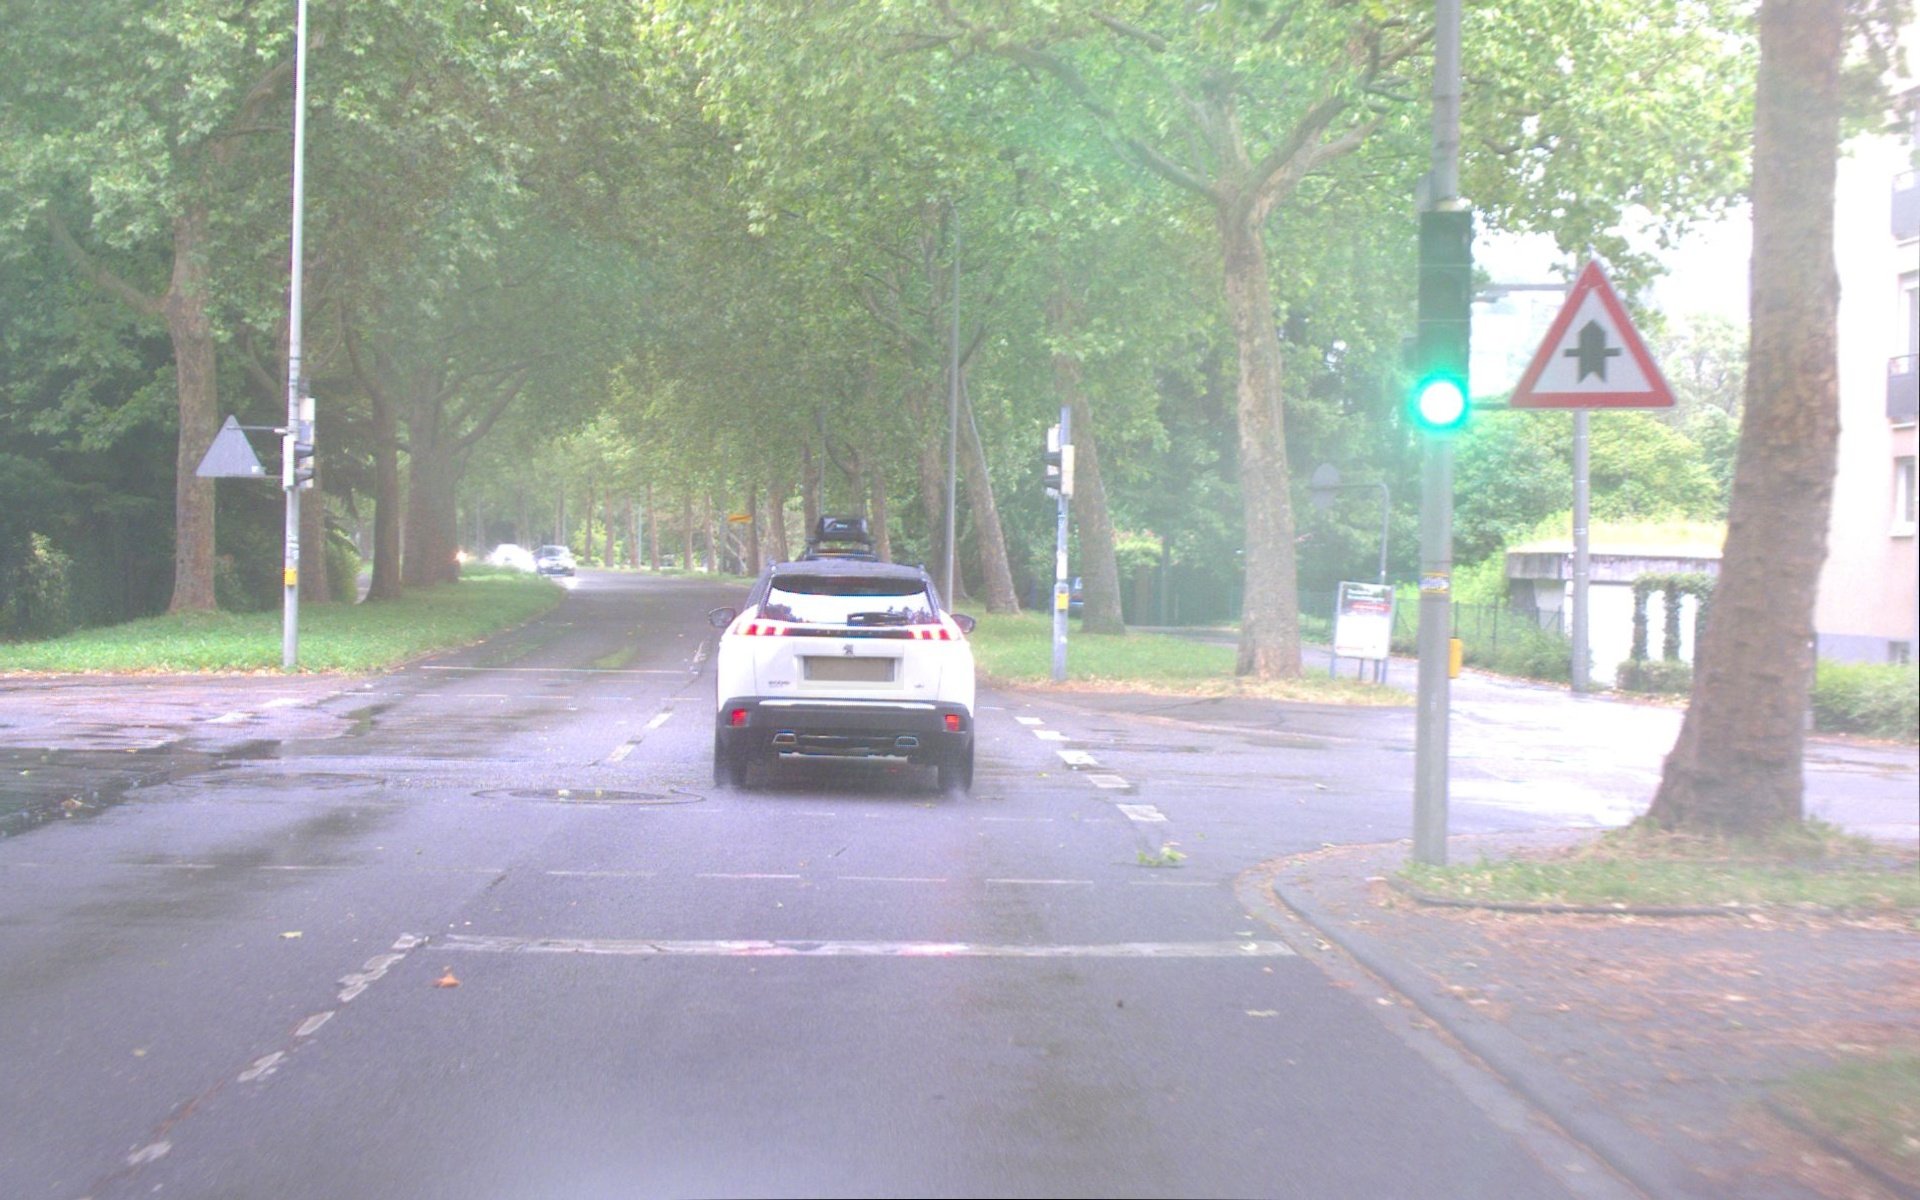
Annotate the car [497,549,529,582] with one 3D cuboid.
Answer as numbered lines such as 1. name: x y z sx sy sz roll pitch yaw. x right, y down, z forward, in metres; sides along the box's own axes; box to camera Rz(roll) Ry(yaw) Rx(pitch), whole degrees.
1. car: -28.165 -2.154 216.738 1.741 2.007 3.665 2 0 -4

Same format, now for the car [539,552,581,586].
1. car: -20.652 -1.613 177.490 1.873 1.671 3.708 1 1 -3

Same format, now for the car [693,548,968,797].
1. car: -0.876 0.445 24.535 1.780 1.531 4.058 1 2 -1

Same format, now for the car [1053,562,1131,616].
1. car: 3.828 -0.330 100.459 1.905 1.505 3.932 1 1 -3
